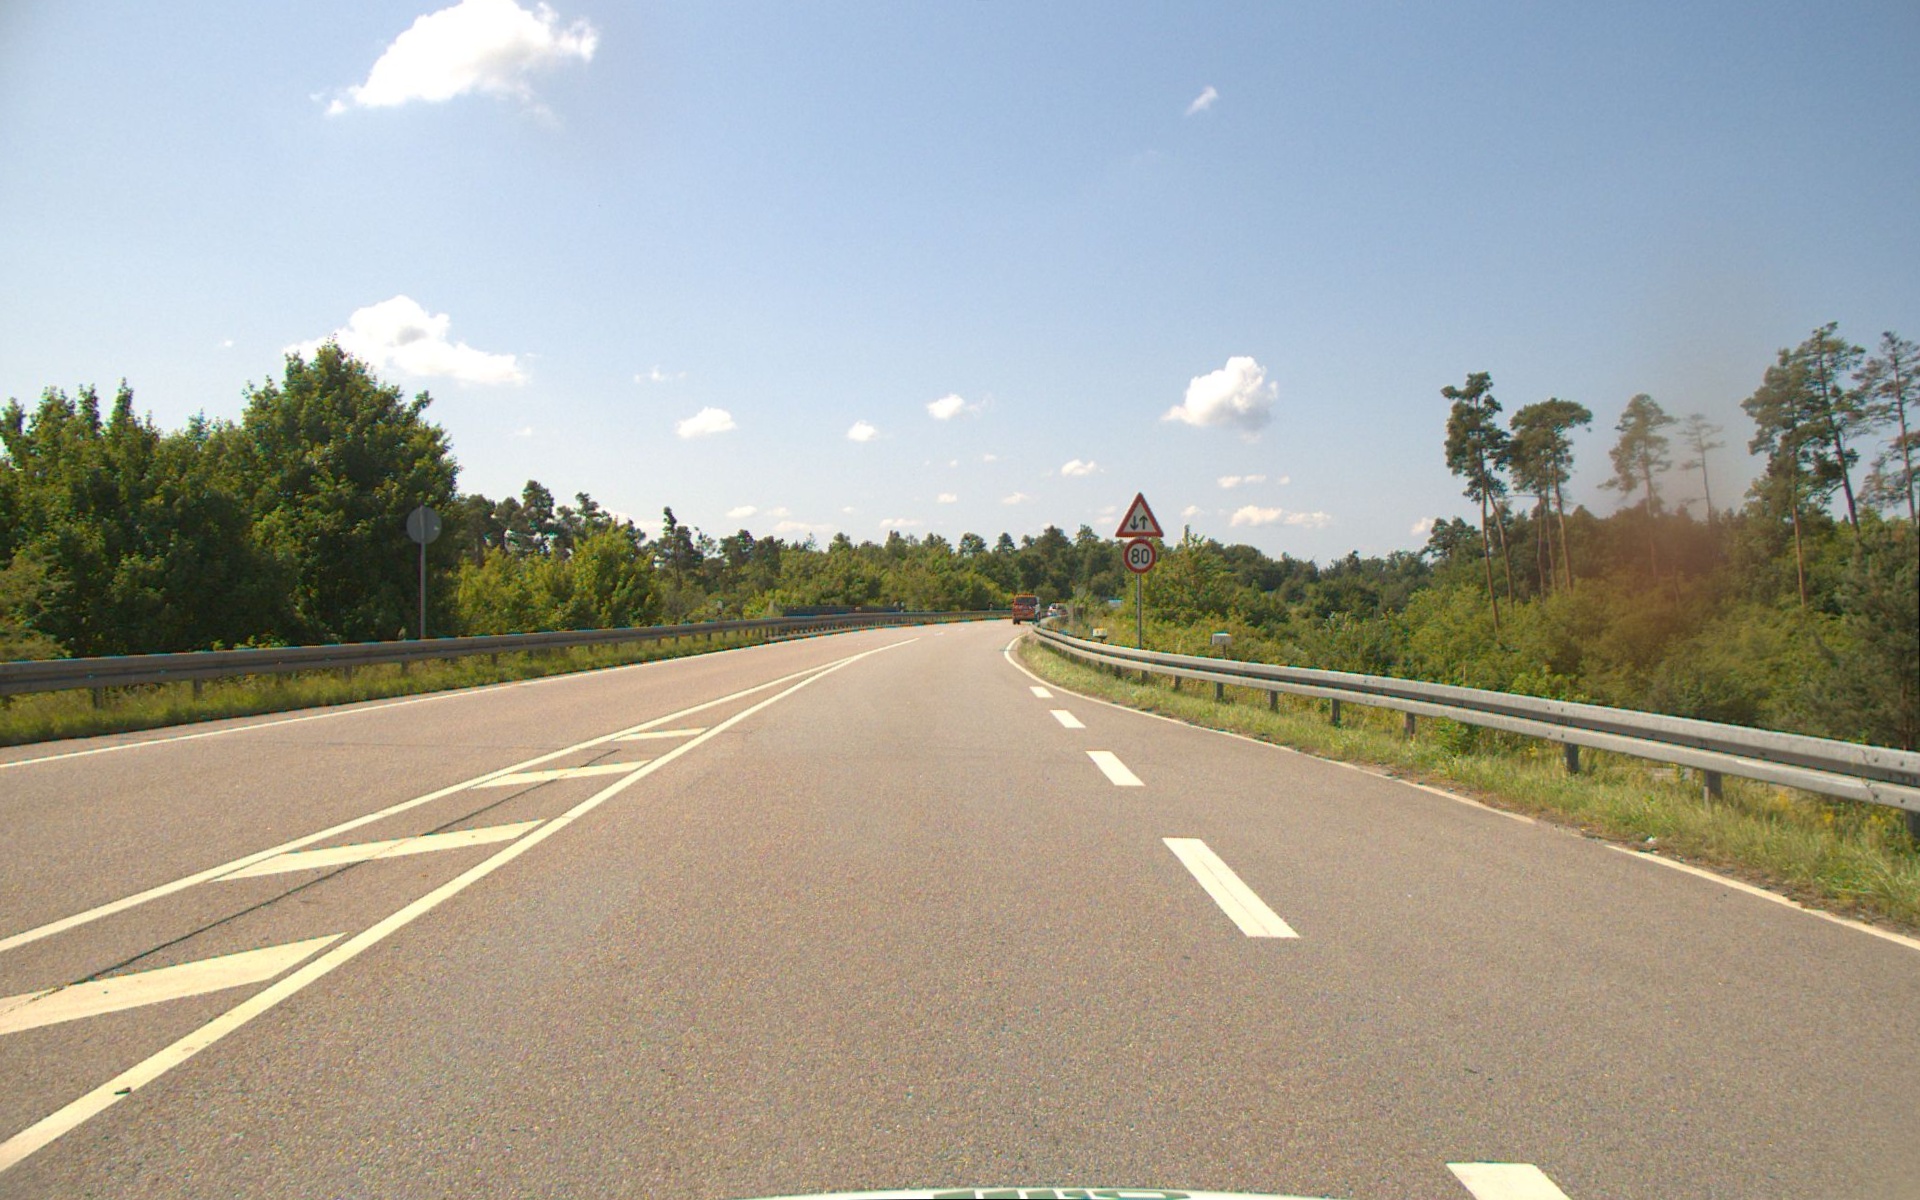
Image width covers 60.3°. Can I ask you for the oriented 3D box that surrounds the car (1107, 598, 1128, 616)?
[{"bbox_3d":[18.514,0.826,194.171,2.138,1.989,5.808,1,0,8],"label":"car"}]

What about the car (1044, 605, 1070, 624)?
[{"bbox_3d":[8.038,1.184,136.677,1.965,1.520,4.241,1,-1,6],"label":"car"}]

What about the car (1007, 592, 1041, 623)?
[{"bbox_3d":[4.465,0.531,115.091,2.033,2.028,5.115,1,-1,6],"label":"car"}]
